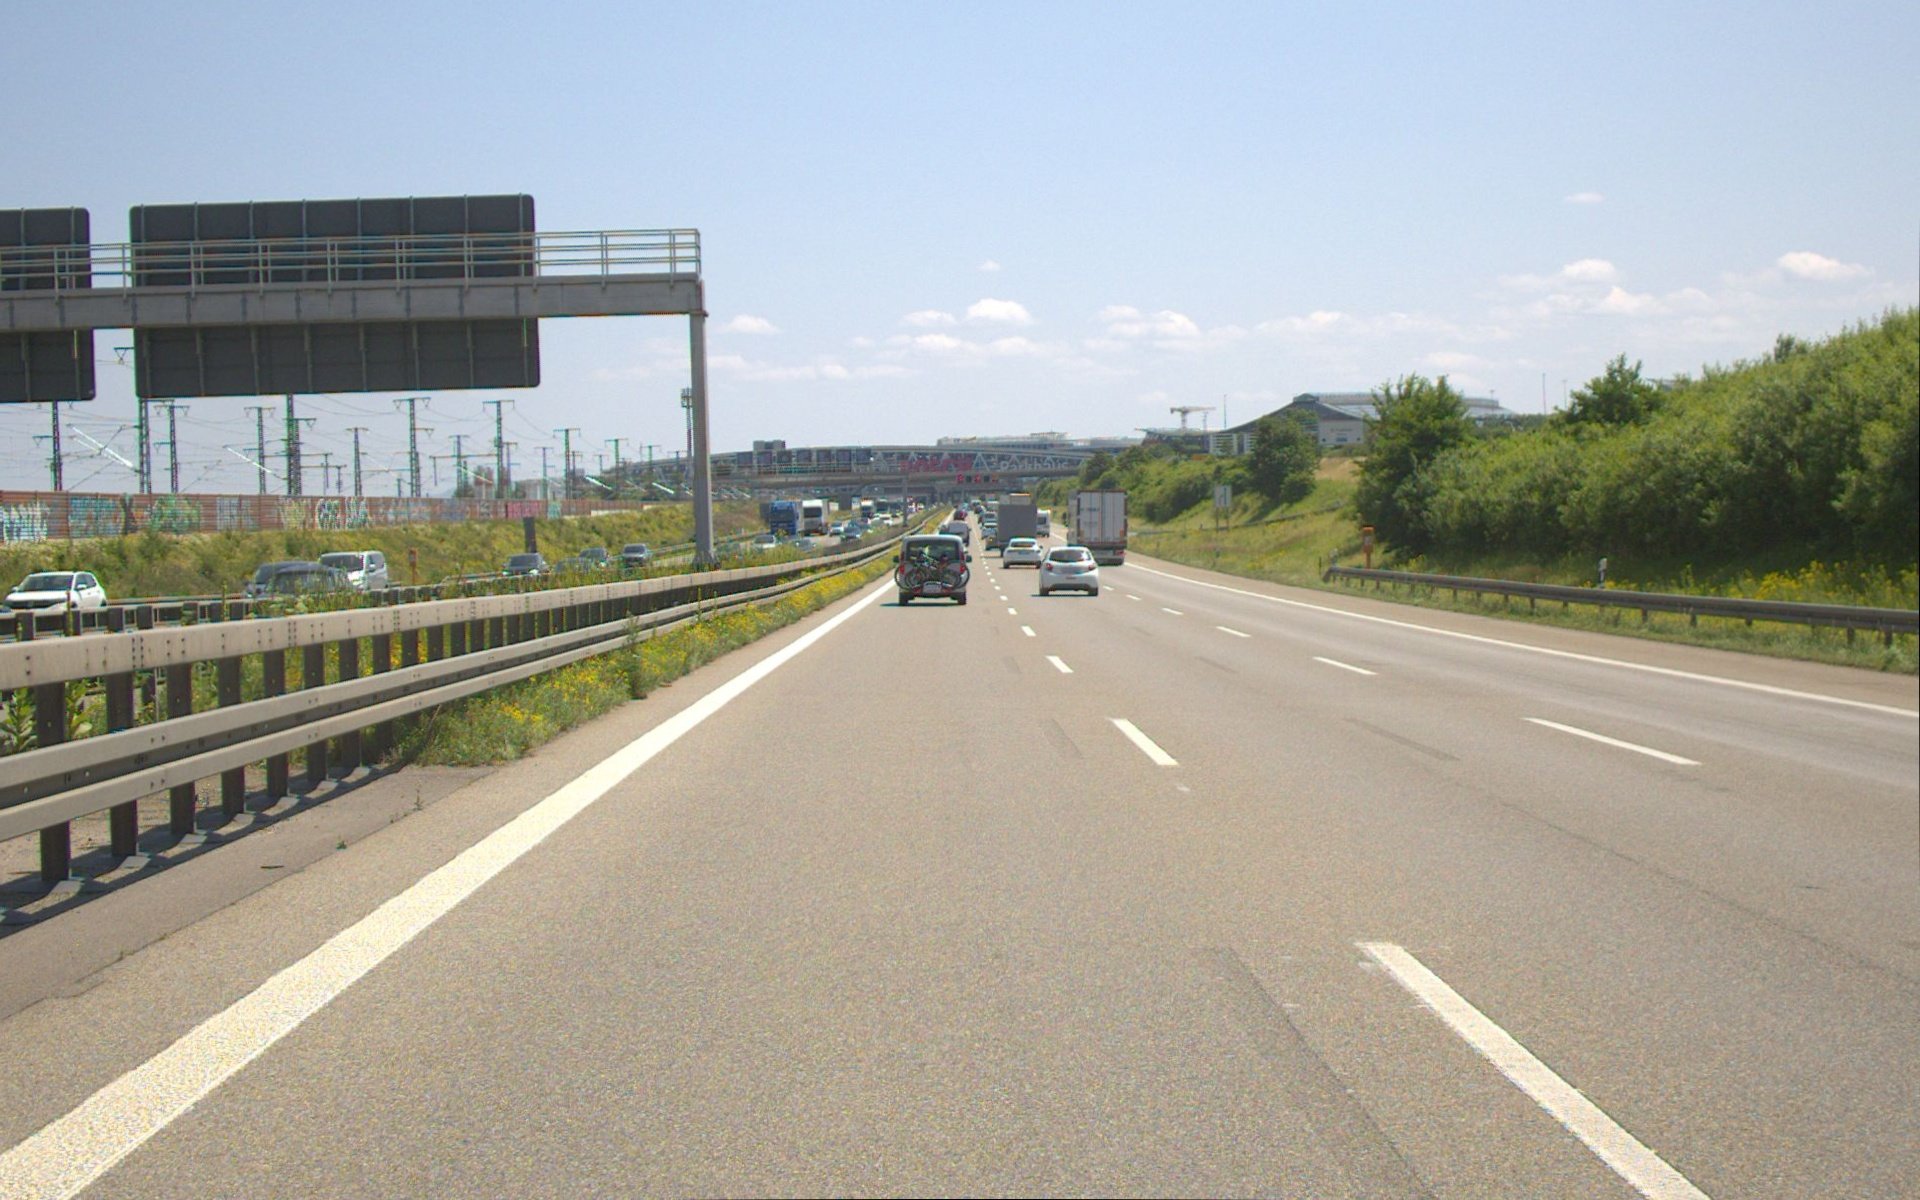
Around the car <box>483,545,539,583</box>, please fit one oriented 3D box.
[{"bbox_3d":[-21.117,-1.704,161.789,1.993,1.720,4.513,0,1,1],"label":"car"}]

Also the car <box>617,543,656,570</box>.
[{"bbox_3d":[-20.365,-2.747,216.394,1.993,1.720,4.513,0,1,0],"label":"car"}]

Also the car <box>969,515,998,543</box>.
[{"bbox_3d":[1.667,-5.034,244.567,1.993,2.007,4.000,0,1,0],"label":"car"}]

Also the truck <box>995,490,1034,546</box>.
[{"bbox_3d":[3.382,-5.088,213.491,2.355,3.404,6.058,0,2,0],"label":"truck"}]

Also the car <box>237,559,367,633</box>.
[{"bbox_3d":[-13.737,-0.109,72.030,1.929,1.478,4.477,0,1,-1],"label":"car"}]

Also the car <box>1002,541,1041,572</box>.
[{"bbox_3d":[3.007,-2.136,168.245,1.881,1.521,4.000,0,1,1],"label":"car"}]

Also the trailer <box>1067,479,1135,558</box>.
[{"bbox_3d":[7.464,-4.368,182.998,3.177,4.045,9.440,-1,2,0],"label":"trailer"}]

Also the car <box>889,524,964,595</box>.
[{"bbox_3d":[-0.847,-1.059,89.628,1.881,1.769,4.000,-1,1,0],"label":"car"}]

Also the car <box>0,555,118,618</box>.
[{"bbox_3d":[-23.278,-0.372,88.700,1.993,1.571,4.477,0,1,0],"label":"car"}]

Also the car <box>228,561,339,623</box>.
[{"bbox_3d":[-17.673,-0.220,90.002,1.993,1.571,4.477,0,1,0],"label":"car"}]

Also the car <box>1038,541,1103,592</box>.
[{"bbox_3d":[3.331,-1.016,102.990,1.881,1.521,4.000,0,1,3],"label":"car"}]
